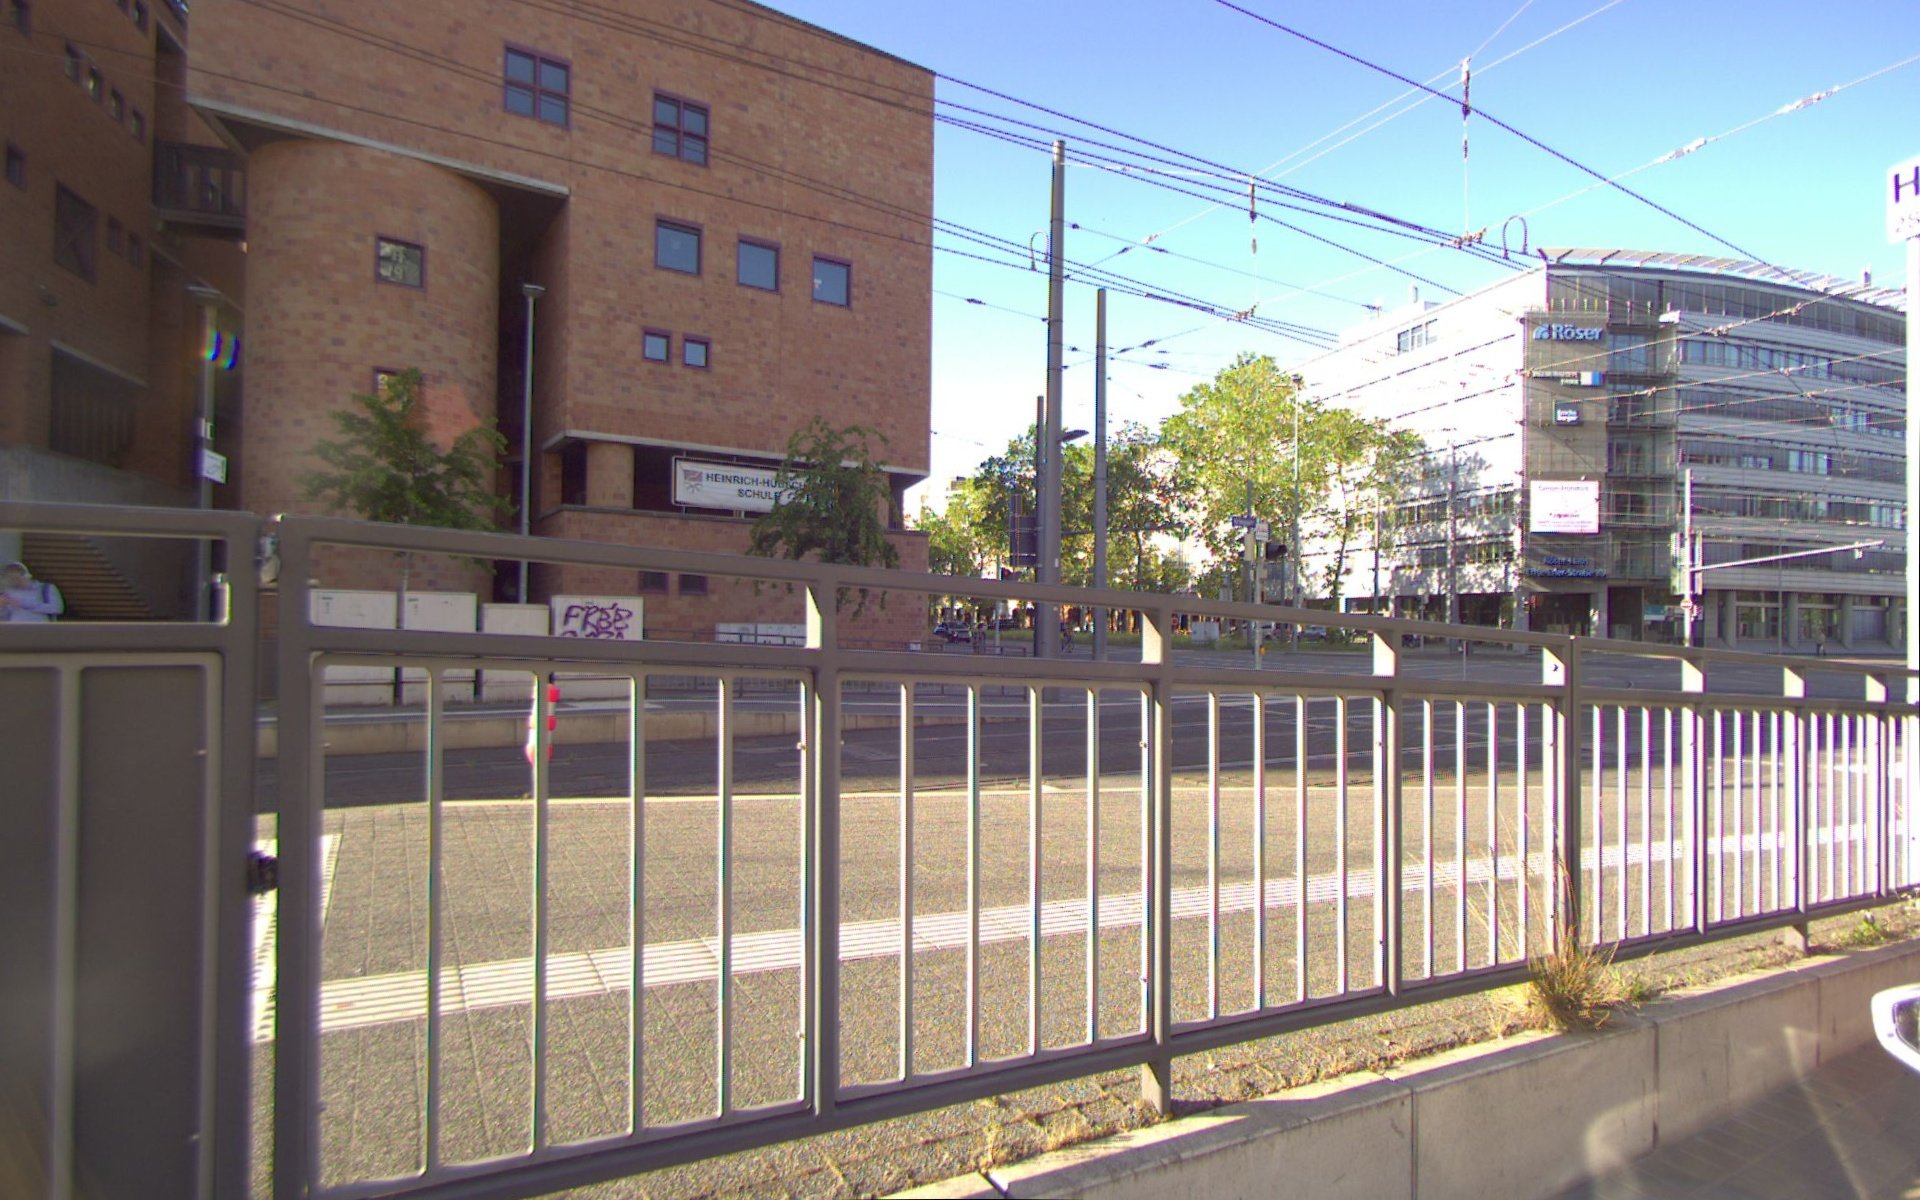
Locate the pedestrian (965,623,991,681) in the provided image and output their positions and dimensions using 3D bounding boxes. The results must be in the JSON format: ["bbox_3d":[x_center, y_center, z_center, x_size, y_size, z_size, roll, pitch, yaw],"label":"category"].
[{"bbox_3d":[0.524,1.488,29.011,0.501,1.639,0.504,2,0,-40],"label":"pedestrian"}]

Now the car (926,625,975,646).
[{"bbox_3d":[-0.678,2.479,70.090,1.639,1.346,3.586,2,0,-35],"label":"car"}]

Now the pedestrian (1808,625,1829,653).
[{"bbox_3d":[57.597,2.633,67.402,0.872,1.847,0.674,1,-2,-20],"label":"pedestrian"}]

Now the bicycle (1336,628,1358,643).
[{"bbox_3d":[30.538,2.786,79.314,1.812,1.167,0.467,0,0,-23],"label":"bicycle"}]

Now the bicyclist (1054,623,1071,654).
[{"bbox_3d":[5.357,2.011,52.745,0.614,1.643,0.812,1,-1,-15],"label":"bicyclist"}]

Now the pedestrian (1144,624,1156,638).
[{"bbox_3d":[20.719,3.379,109.418,0.860,1.567,0.989,1,-1,-22],"label":"pedestrian"}]

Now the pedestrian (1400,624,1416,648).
[{"bbox_3d":[31.644,2.538,70.898,0.598,1.633,0.832,-2,2,-26],"label":"pedestrian"}]

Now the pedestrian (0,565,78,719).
[{"bbox_3d":[-9.782,0.433,10.555,0.647,1.555,0.696,1,-1,-33],"label":"pedestrian"}]

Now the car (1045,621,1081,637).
[{"bbox_3d":[10.981,3.099,107.439,1.969,1.650,4.055,0,-1,-29],"label":"car"}]

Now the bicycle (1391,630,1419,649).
[{"bbox_3d":[31.325,2.778,70.763,0.605,1.179,1.835,-2,2,-27],"label":"bicycle"}]

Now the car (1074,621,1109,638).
[{"bbox_3d":[13.362,2.960,102.200,1.840,1.660,3.844,1,-1,-25],"label":"car"}]

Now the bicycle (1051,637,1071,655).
[{"bbox_3d":[5.310,2.410,52.844,0.528,0.925,1.564,1,-1,-15],"label":"bicycle"}]

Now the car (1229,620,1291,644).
[{"bbox_3d":[24.196,2.563,81.290,1.904,1.868,4.889,-1,0,-28],"label":"car"}]

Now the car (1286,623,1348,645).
[{"bbox_3d":[27.049,2.564,76.245,1.840,1.594,4.387,-1,0,-25],"label":"car"}]

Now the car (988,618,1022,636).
[{"bbox_3d":[5.294,3.183,117.588,2.011,2.003,4.382,0,-1,-29],"label":"car"}]
